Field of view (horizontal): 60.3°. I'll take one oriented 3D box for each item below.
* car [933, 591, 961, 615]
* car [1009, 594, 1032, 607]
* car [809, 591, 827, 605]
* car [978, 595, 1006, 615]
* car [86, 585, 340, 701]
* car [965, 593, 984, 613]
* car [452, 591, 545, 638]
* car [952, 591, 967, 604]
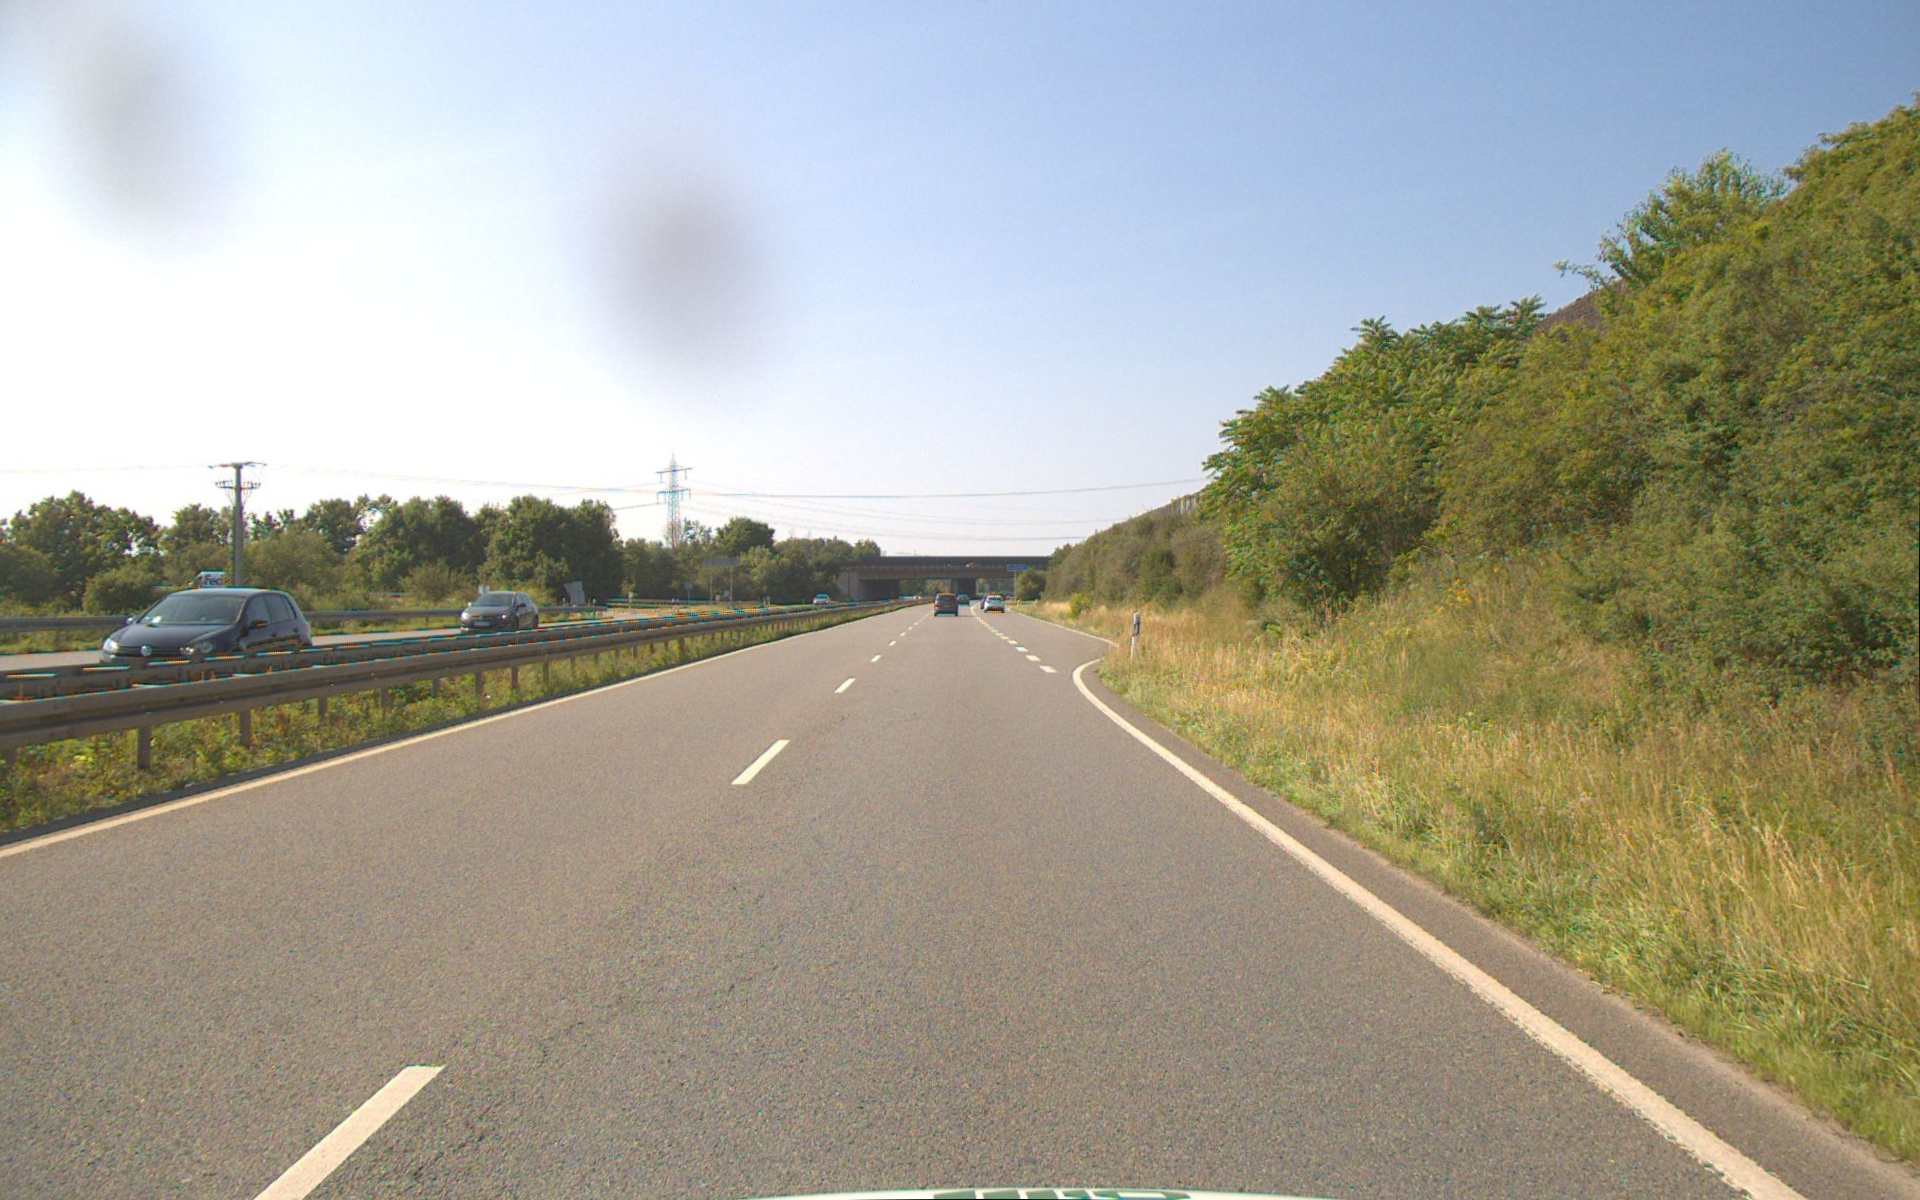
[{"bbox_3d":[-0.948,0.223,121.291,1.811,1.673,4.001,0,0,2],"label":"car"},{"bbox_3d":[6.857,0.060,188.448,1.861,1.320,4.003,2,1,13],"label":"car"},{"bbox_3d":[-16.423,-0.214,191.767,1.666,1.511,4.619,3,0,-1],"label":"car"},{"bbox_3d":[2.807,0.407,143.760,1.758,1.694,4.003,2,1,10],"label":"car"},{"bbox_3d":[-10.814,0.556,24.316,1.778,1.498,4.323,2,1,-1],"label":"car"},{"bbox_3d":[1.535,0.332,177.647,1.953,2.049,4.000,-2,0,-1],"label":"car"},{"bbox_3d":[-15.442,0.444,55.572,1.830,1.459,4.933,2,0,-2],"label":"car"},{"bbox_3d":[-0.091,-0.313,221.857,1.811,1.673,4.001,0,0,2],"label":"car"}]
